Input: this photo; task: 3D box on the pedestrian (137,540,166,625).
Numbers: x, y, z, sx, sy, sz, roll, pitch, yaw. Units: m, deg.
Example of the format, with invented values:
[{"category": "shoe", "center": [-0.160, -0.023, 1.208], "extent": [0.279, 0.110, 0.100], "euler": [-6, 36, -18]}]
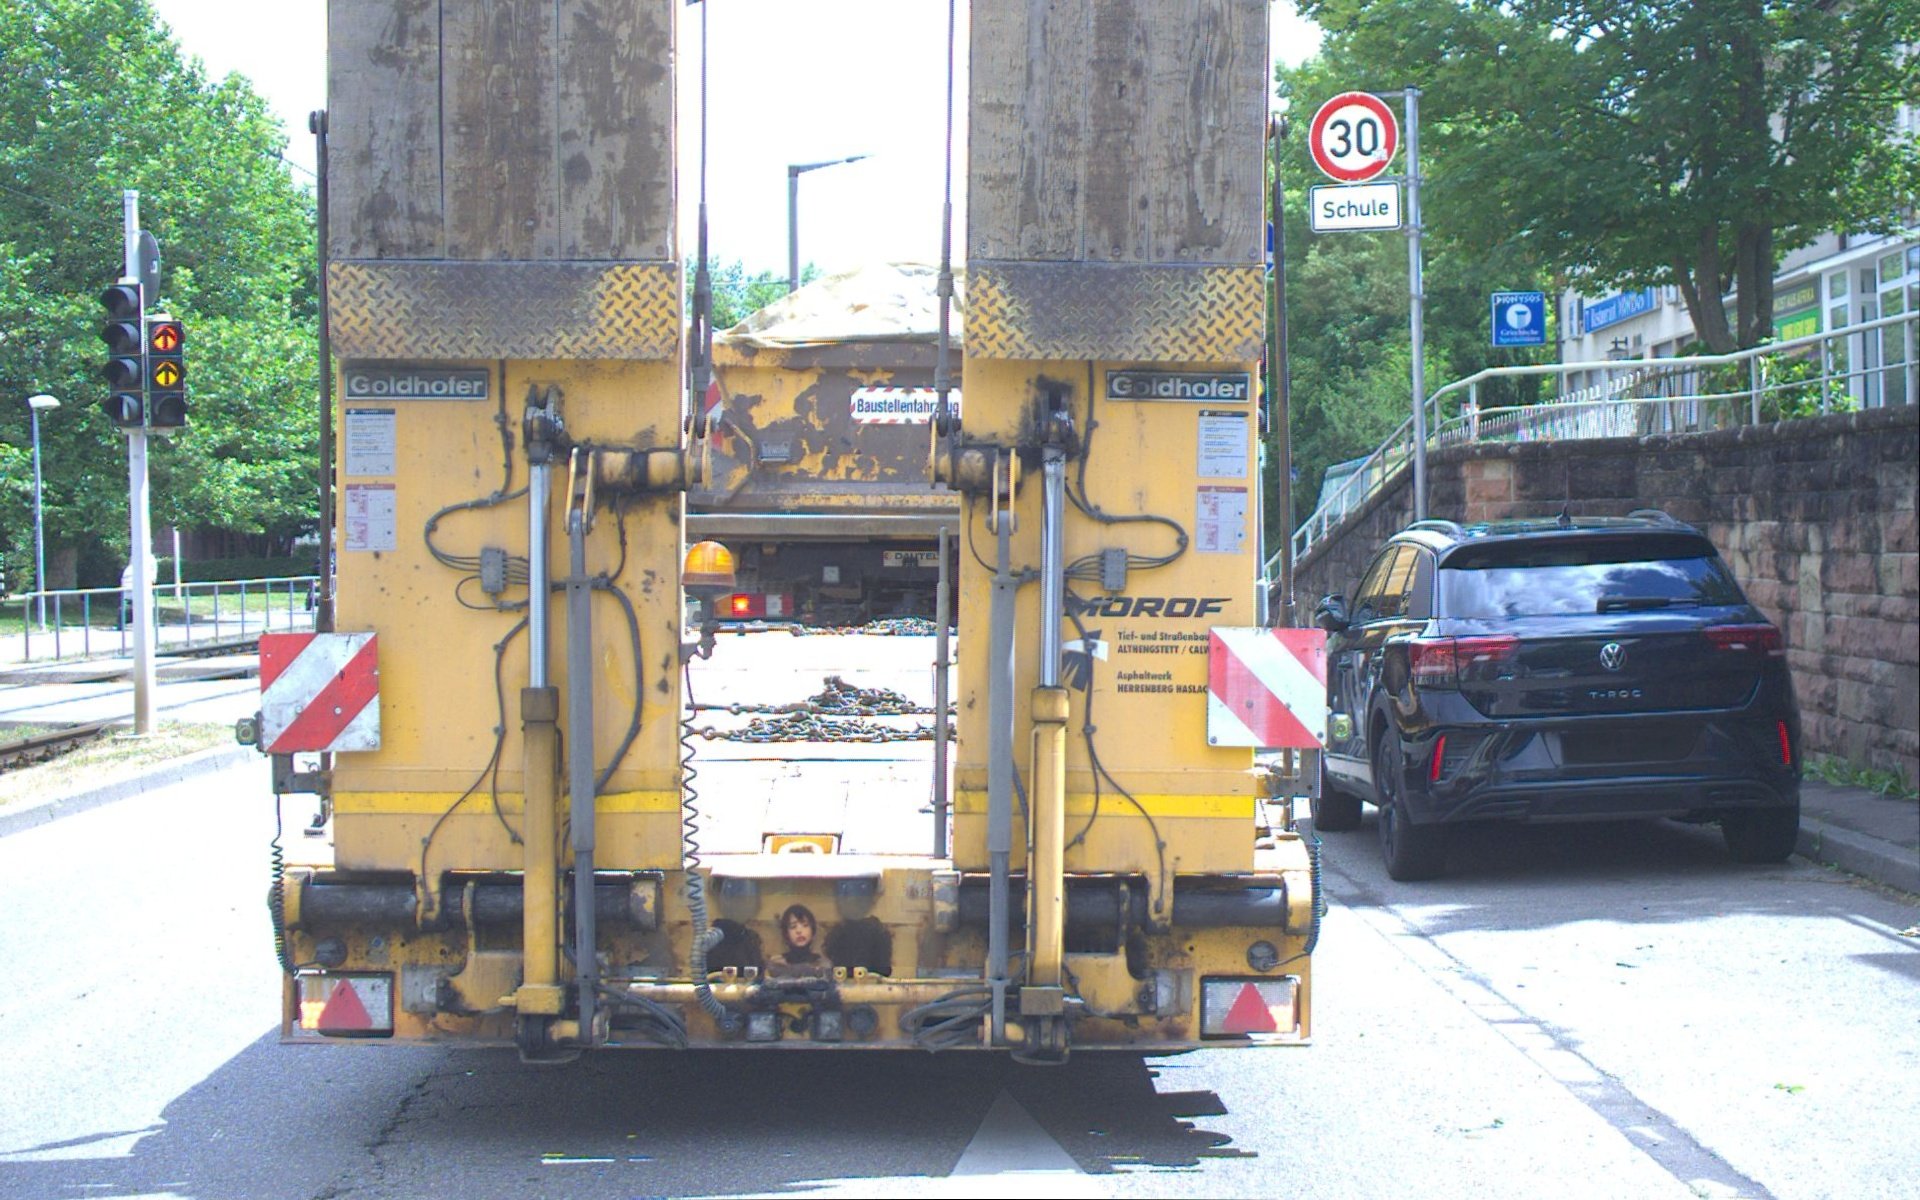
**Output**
[{"category": "pedestrian", "center": [-14.750, -0.324, 62.728], "extent": [0.348, 1.531, 0.557], "euler": [-1, 1, 3]}]

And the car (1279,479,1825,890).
[{"category": "car", "center": [2.630, 0.317, 16.196], "extent": [1.851, 1.633, 4.000], "euler": [-2, 1, 0]}]

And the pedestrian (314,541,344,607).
[{"category": "pedestrian", "center": [-14.506, -0.597, 79.050], "extent": [0.563, 1.508, 0.646], "euler": [1, 1, -1]}]

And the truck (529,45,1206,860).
[{"category": "truck", "center": [-0.398, -0.691, 17.616], "extent": [2.942, 3.560, 4.877], "euler": [-1, 1, 0]}]

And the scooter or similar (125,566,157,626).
[{"category": "scooter or similar", "center": [-14.789, -0.070, 62.078], "extent": [0.338, 1.054, 0.687], "euler": [-1, 2, 5]}]

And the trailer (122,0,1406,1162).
[{"category": "trailer", "center": [-0.430, -0.584, 12.315], "extent": [2.945, 3.589, 8.684], "euler": [-1, 1, 0]}]

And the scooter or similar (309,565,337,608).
[{"category": "scooter or similar", "center": [-14.528, -0.314, 78.403], "extent": [0.505, 0.968, 0.646], "euler": [1, 1, -1]}]
